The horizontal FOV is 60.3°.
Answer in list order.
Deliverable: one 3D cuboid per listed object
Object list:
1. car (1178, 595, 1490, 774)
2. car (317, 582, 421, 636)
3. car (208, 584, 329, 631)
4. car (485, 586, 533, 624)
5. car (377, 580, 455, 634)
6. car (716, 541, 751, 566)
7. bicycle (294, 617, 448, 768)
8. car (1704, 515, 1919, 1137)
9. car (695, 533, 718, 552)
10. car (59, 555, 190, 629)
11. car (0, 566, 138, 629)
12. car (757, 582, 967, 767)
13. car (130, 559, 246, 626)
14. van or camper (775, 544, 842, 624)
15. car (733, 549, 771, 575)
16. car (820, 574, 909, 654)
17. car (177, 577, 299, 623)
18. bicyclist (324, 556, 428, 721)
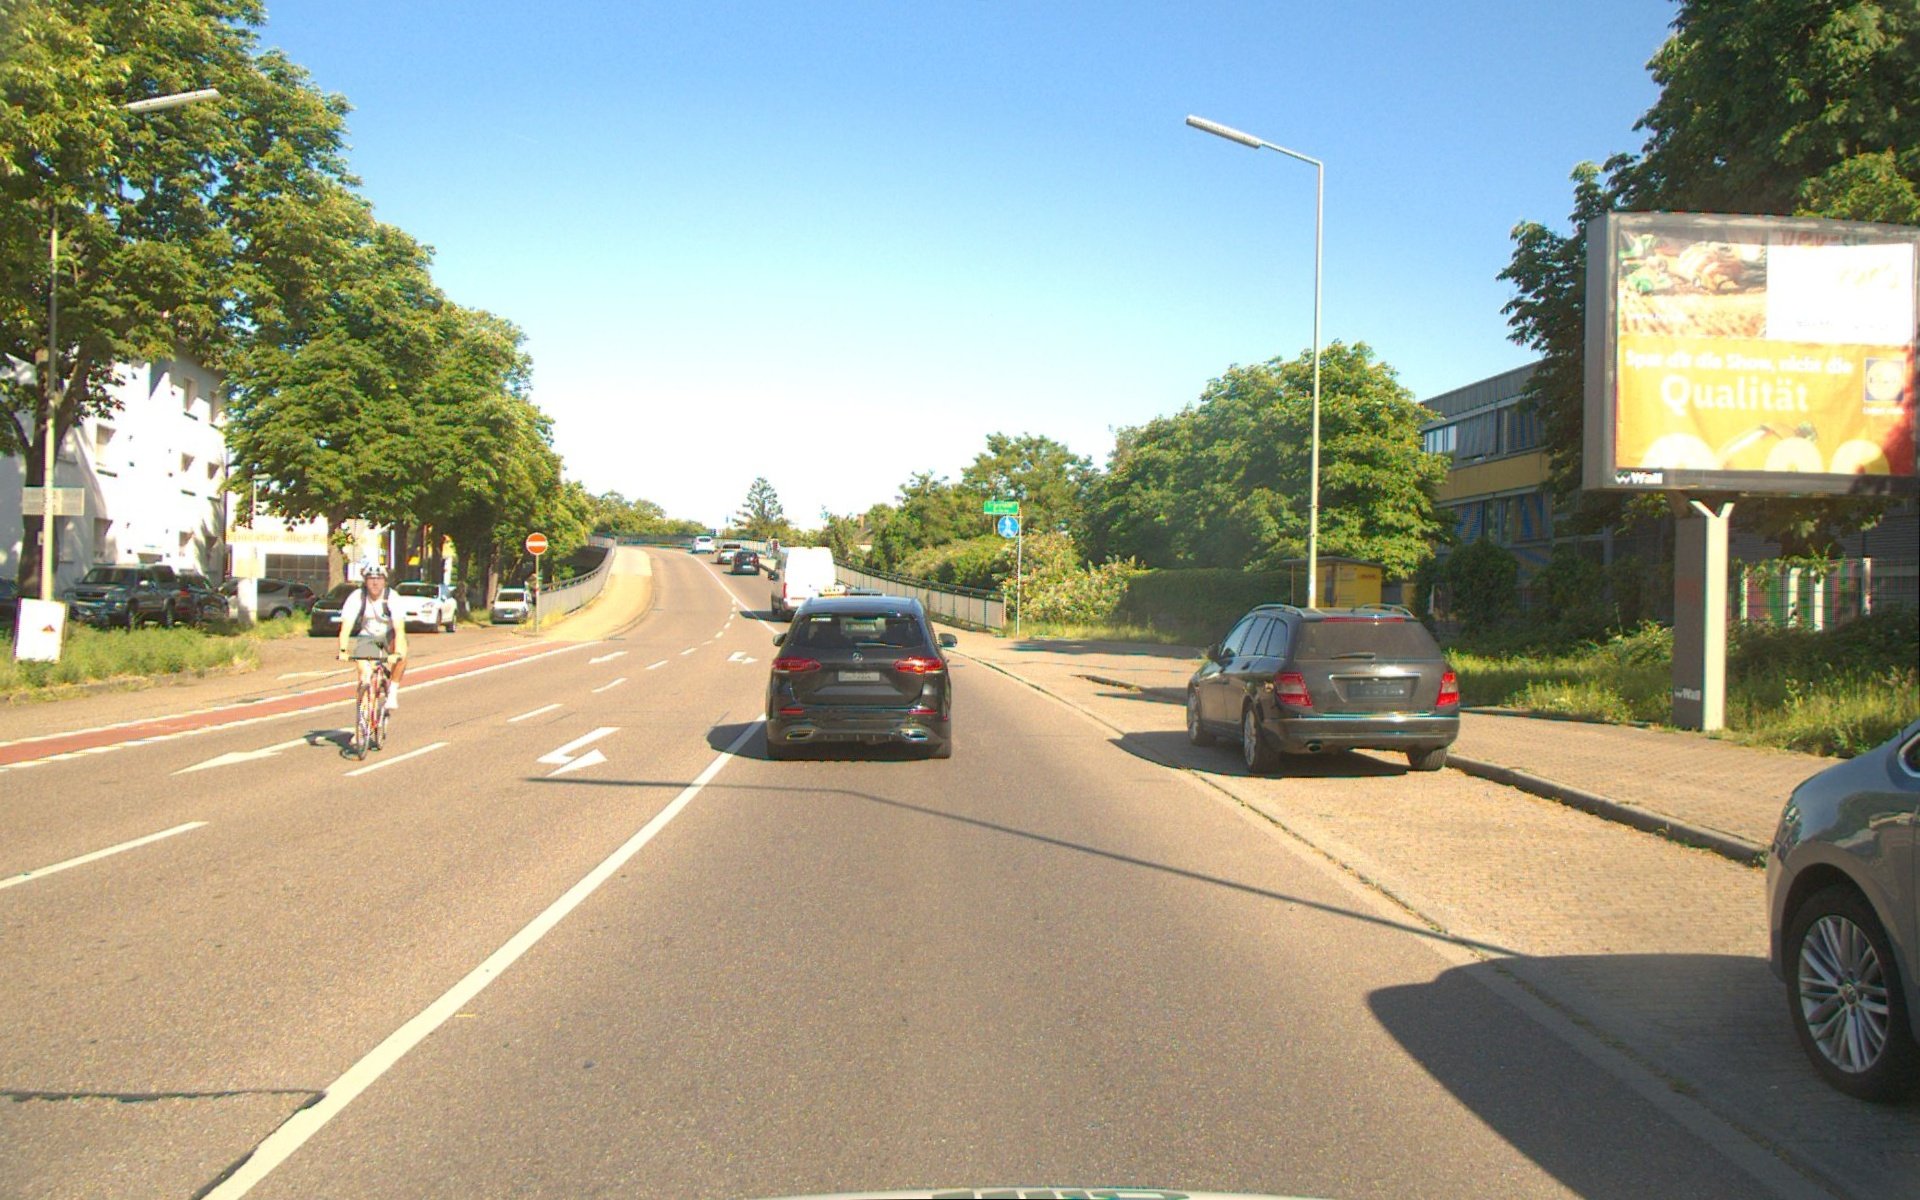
[{"bbox_3d":[3.382,0.694,15.837,1.772,1.444,4.422,1,0,-3],"label":"car"},{"bbox_3d":[-17.619,0.238,49.543,2.000,1.489,4.951,1,0,-9],"label":"car"},{"bbox_3d":[-25.582,0.255,61.199,3.946,1.625,1.980,0,1,-31],"label":"car"},{"bbox_3d":[-25.209,0.255,92.521,1.886,2.026,4.252,1,1,-6],"label":"car"},{"bbox_3d":[-18.877,0.219,57.571,2.002,1.759,5.220,2,0,-12],"label":"car"},{"bbox_3d":[-16.197,-3.306,118.283,1.952,1.709,4.000,0,0,0],"label":"car"},{"bbox_3d":[-5.589,0.820,15.913,0.778,1.247,3.206,1,0,-9],"label":"bicycle"},{"bbox_3d":[3.621,0.621,3.636,1.835,1.752,4.611,-1,0,-1],"label":"car"},{"bbox_3d":[-22.219,-5.005,144.747,1.843,1.570,3.991,1,1,-10],"label":"car"},{"bbox_3d":[-23.684,-0.227,47.110,1.714,1.964,5.094,1,0,-8],"label":"car"},{"bbox_3d":[-22.426,-0.063,40.289,3.918,1.454,1.901,1,-1,-13],"label":"car"},{"bbox_3d":[-0.878,0.674,16.918,1.733,1.620,3.990,1,0,2],"label":"car"},{"bbox_3d":[-24.289,-0.224,52.248,2.031,1.964,4.777,2,0,-9],"label":"car"},{"bbox_3d":[-5.806,-0.607,62.481,2.184,2.787,7.068,1,1,-8],"label":"van or camper"},{"bbox_3d":[-12.924,-2.340,102.955,1.879,1.514,4.269,0,0,-1],"label":"car"},{"bbox_3d":[-2.112,0.314,37.501,1.768,1.669,3.999,1,-1,-1],"label":"car"},{"bbox_3d":[-25.344,0.010,58.099,3.629,1.536,1.762,1,1,-36],"label":"car"},{"bbox_3d":[-5.553,0.356,15.763,0.758,1.510,0.824,1,0,-9],"label":"bicyclist"}]
